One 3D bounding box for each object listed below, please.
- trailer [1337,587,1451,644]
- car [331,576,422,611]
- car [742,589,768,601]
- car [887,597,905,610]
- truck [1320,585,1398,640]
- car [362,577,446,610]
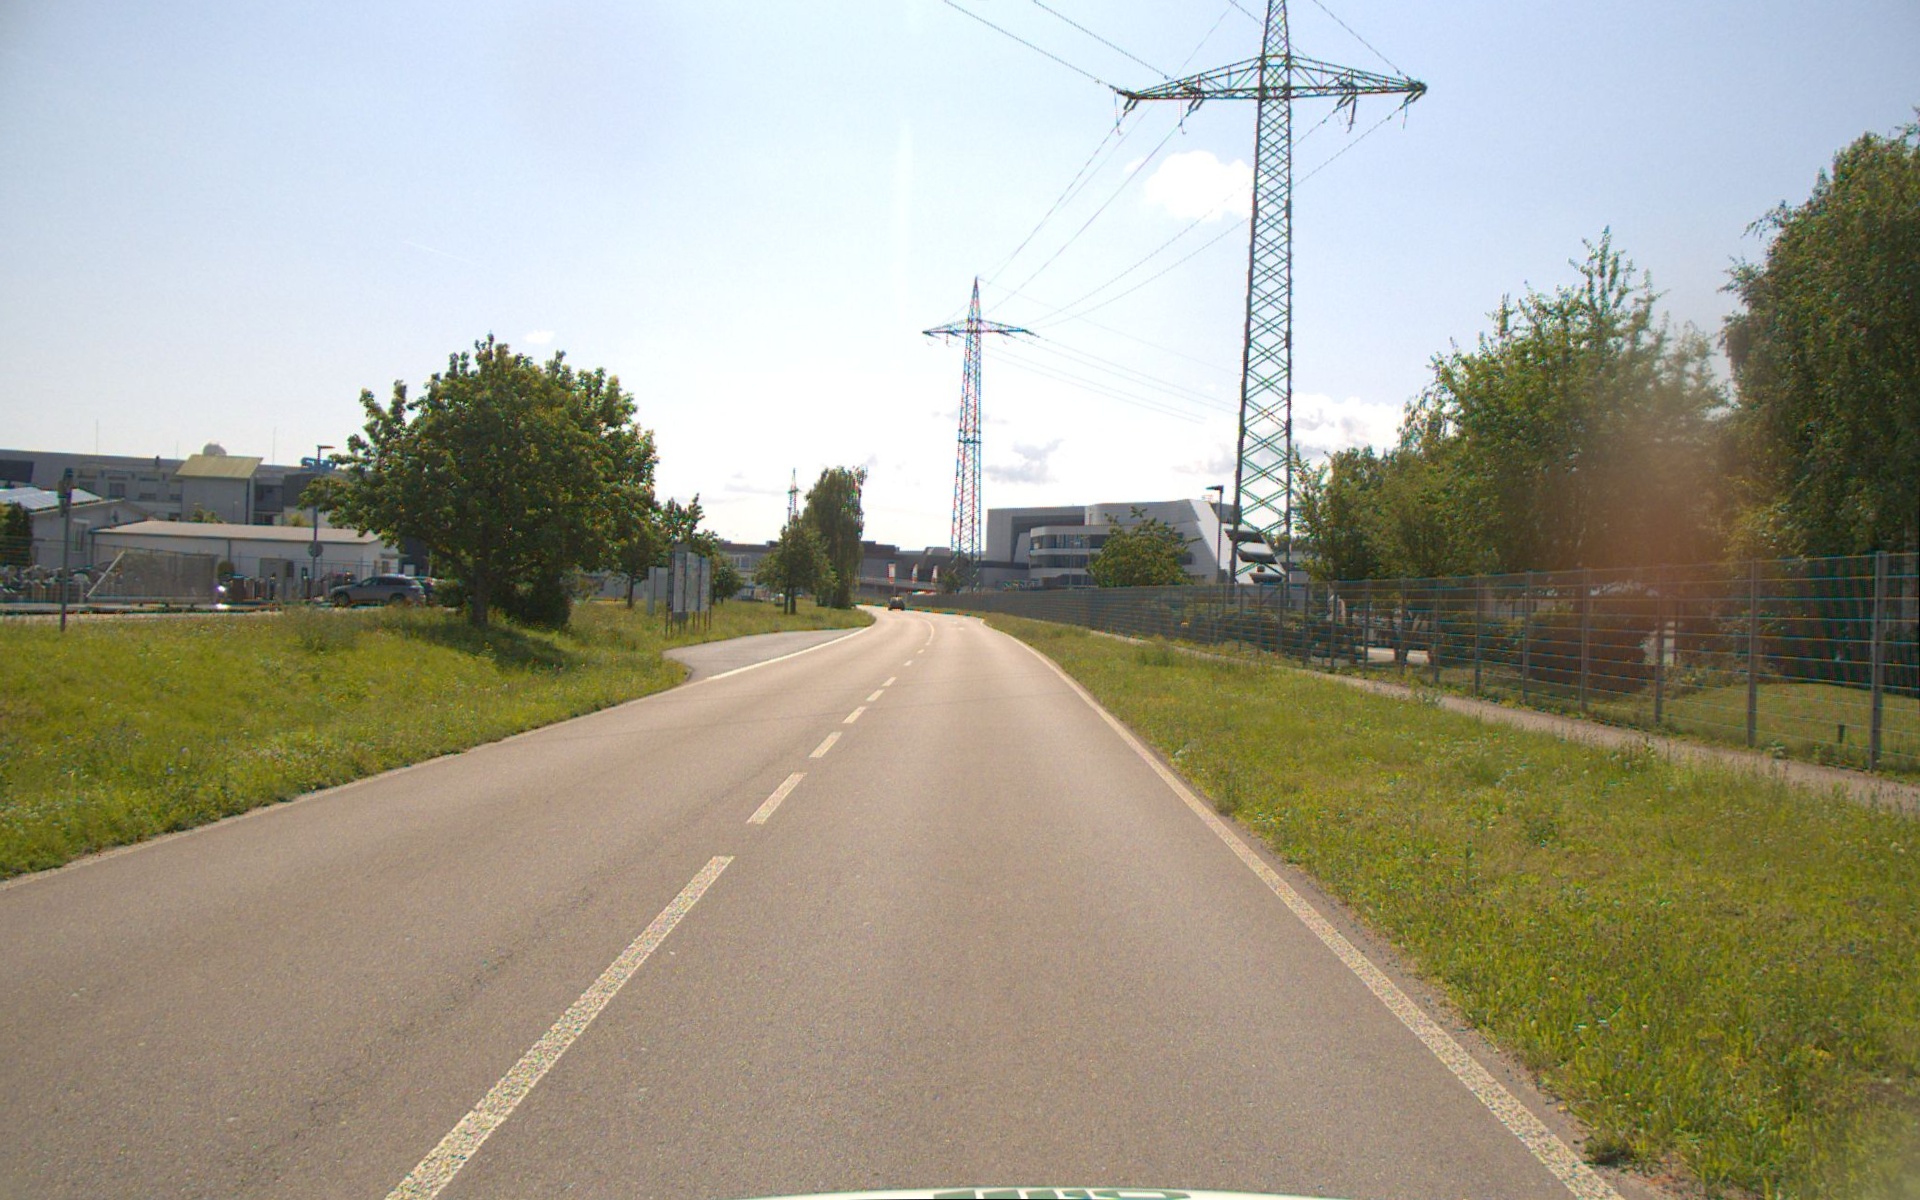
[{"bbox_3d":[30.484,1.004,116.809,3.522,3.801,12.220,1,0,-7],"label":"trailer"},{"bbox_3d":[-29.347,-0.312,83.250,3.910,1.554,1.997,3,0,-6],"label":"car"},{"bbox_3d":[-31.345,-0.718,252.546,3.913,1.601,1.997,4,1,-8],"label":"car"},{"bbox_3d":[-7.684,0.463,198.256,1.972,1.534,3.997,1,0,-3],"label":"car"},{"bbox_3d":[29.720,0.900,123.491,3.527,3.935,6.395,1,0,-9],"label":"truck"},{"bbox_3d":[-29.437,-0.339,87.655,3.910,1.582,1.663,2,0,-6],"label":"car"}]
